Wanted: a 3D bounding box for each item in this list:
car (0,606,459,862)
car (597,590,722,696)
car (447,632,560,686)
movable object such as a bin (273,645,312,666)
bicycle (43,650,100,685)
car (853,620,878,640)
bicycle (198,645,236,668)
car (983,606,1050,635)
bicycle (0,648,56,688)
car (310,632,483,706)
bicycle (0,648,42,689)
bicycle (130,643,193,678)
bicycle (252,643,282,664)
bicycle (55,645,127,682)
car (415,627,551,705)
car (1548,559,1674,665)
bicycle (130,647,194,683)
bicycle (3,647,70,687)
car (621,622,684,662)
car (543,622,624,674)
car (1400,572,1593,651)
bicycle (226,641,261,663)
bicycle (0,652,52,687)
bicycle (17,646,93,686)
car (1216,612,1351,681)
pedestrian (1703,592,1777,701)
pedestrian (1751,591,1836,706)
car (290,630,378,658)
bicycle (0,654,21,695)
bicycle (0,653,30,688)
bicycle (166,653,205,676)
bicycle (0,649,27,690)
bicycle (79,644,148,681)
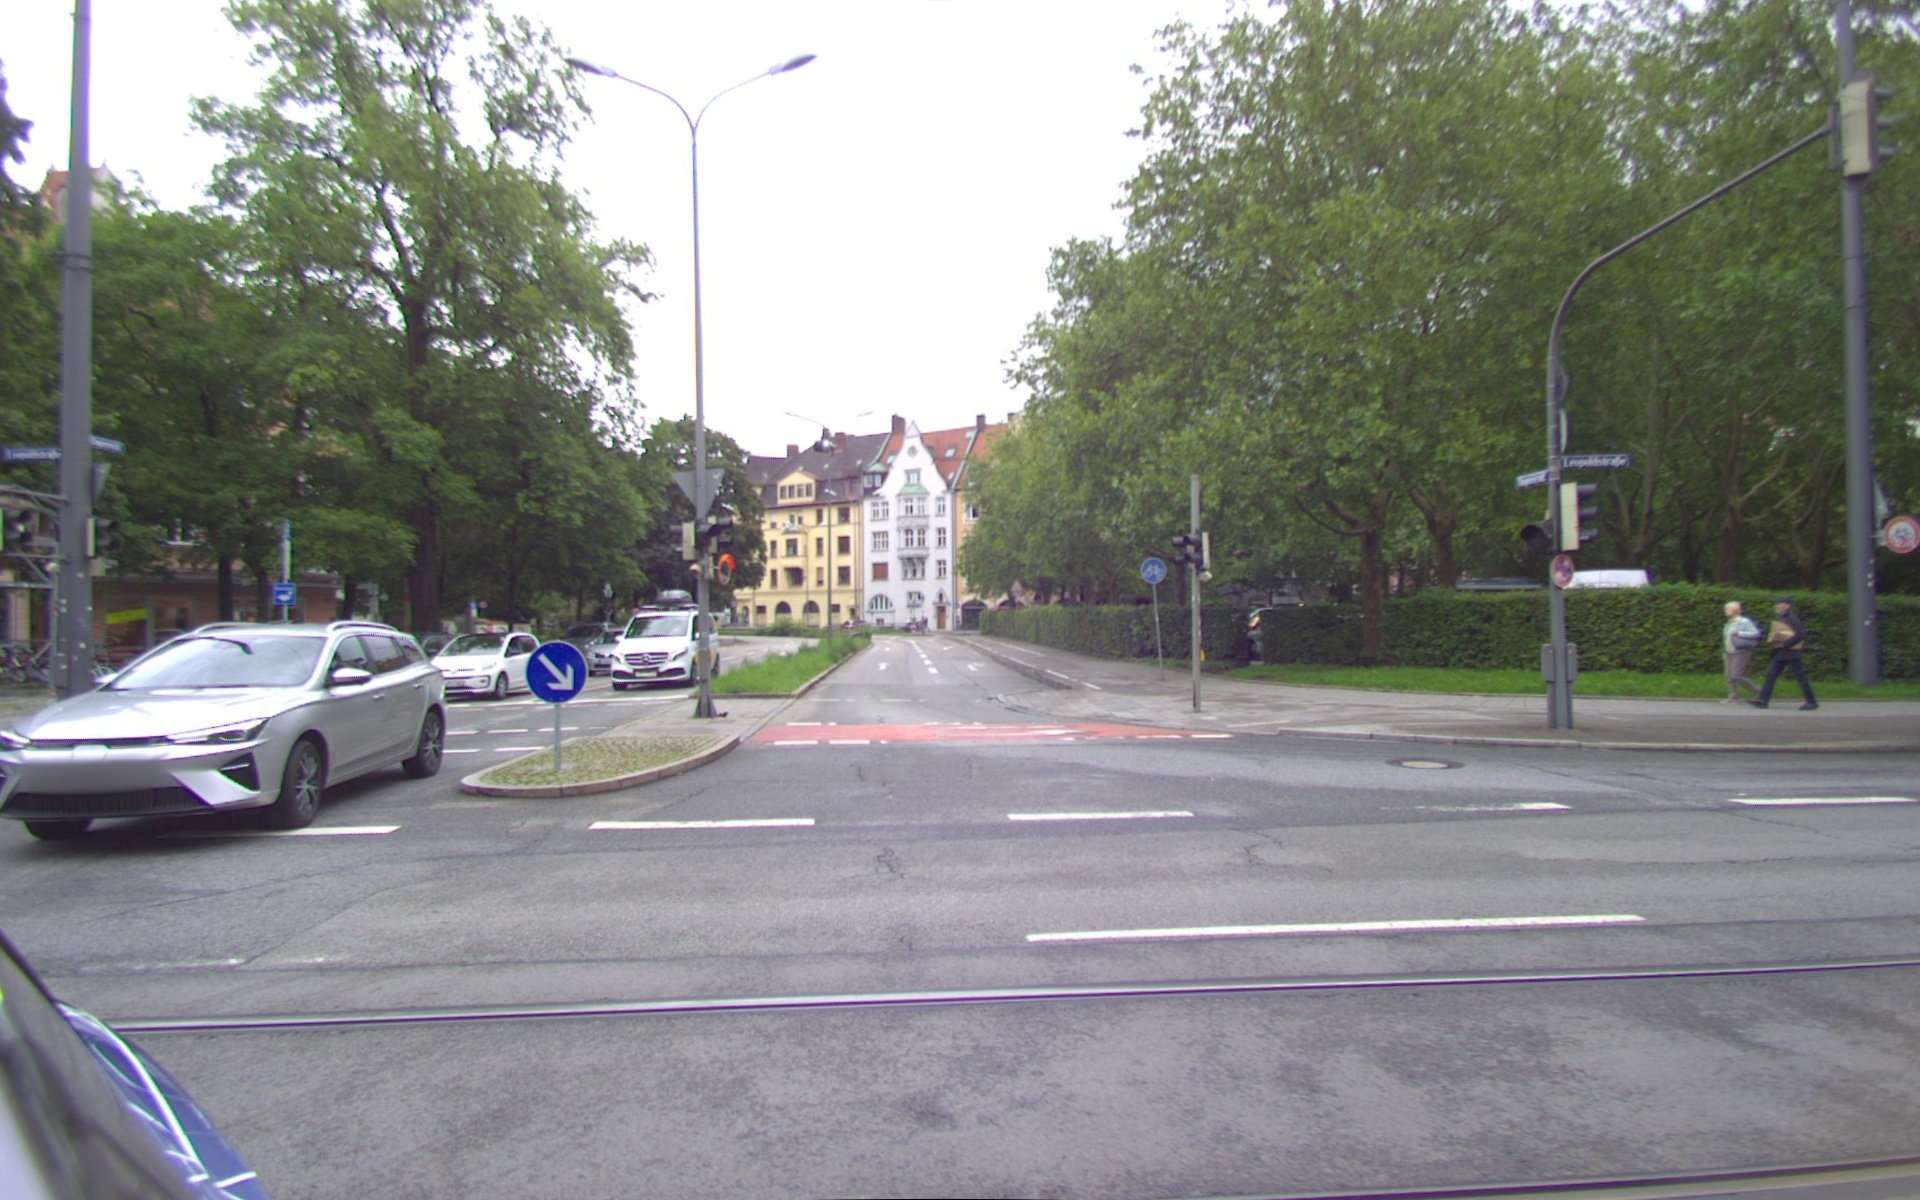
[{"bbox_3d":[-5.835,0.875,8.383,1.748,1.536,4.215,-2,-1,-8],"label":"car"},{"bbox_3d":[-7.402,1.028,25.405,1.886,2.369,4.948,-1,-1,-3],"label":"car"},{"bbox_3d":[-13.945,1.751,31.214,1.746,1.472,4.647,-1,-1,-5],"label":"car"},{"bbox_3d":[-28.186,2.347,42.743,1.166,0.879,0.772,-1,-1,5],"label":"movable object such as a bin"},{"bbox_3d":[-24.867,1.873,28.349,0.309,0.900,1.411,-2,-1,2],"label":"bicycle"},{"bbox_3d":[-8.319,2.680,89.647,2.078,1.650,4.943,0,-2,-4],"label":"car"},{"bbox_3d":[-26.124,1.988,35.574,1.164,0.729,0.318,-2,-1,6],"label":"bicycle"},{"bbox_3d":[5.265,1.897,93.886,5.975,2.609,2.117,1,-3,-28],"label":"car"},{"bbox_3d":[-22.239,1.614,23.988,1.394,0.900,0.313,-2,-1,4],"label":"bicycle"},{"bbox_3d":[-13.449,1.591,24.516,1.810,1.561,4.556,-1,-1,-2],"label":"car"},{"bbox_3d":[-22.225,1.610,23.612,1.394,0.900,0.313,-2,-1,4],"label":"bicycle"},{"bbox_3d":[-22.638,1.716,28.706,1.390,0.900,0.314,-2,-1,-40],"label":"bicycle"},{"bbox_3d":[-25.955,2.015,37.902,1.171,0.729,0.316,-3,-1,24],"label":"bicycle"},{"bbox_3d":[-22.423,1.639,26.132,1.388,0.900,0.314,0,-1,-29],"label":"bicycle"},{"bbox_3d":[-10.709,1.420,23.054,1.747,1.536,4.217,-2,-1,-10],"label":"car"},{"bbox_3d":[15.218,0.394,23.550,1.997,2.029,4.568,-3,-7,38],"label":"car"},{"bbox_3d":[-22.313,1.798,28.304,1.390,0.900,0.314,-2,-1,-40],"label":"bicycle"},{"bbox_3d":[-22.248,1.617,24.385,1.394,0.900,0.313,-2,-1,4],"label":"bicycle"},{"bbox_3d":[-15.025,2.013,49.749,1.822,1.870,5.027,-1,-1,-3],"label":"car"},{"bbox_3d":[-14.199,1.760,38.455,1.907,1.833,4.561,-1,-1,-7],"label":"car"},{"bbox_3d":[19.353,0.416,36.703,5.782,2.554,2.000,-2,-1,0],"label":"car"},{"bbox_3d":[-25.890,1.859,36.580,0.315,0.729,1.176,-2,-1,7],"label":"bicycle"},{"bbox_3d":[-26.397,1.939,28.513,0.309,0.900,1.411,-2,-1,2],"label":"bicycle"},{"bbox_3d":[-22.430,1.631,25.096,1.388,0.900,0.314,-2,-1,-17],"label":"bicycle"},{"bbox_3d":[9.550,1.336,29.885,3.462,1.776,1.783,-2,-1,-27],"label":"car"},{"bbox_3d":[12.285,0.720,15.954,0.545,1.676,0.688,0,-1,-16],"label":"pedestrian"},{"bbox_3d":[12.490,0.713,15.174,0.650,1.676,0.688,0,-1,-16],"label":"pedestrian"},{"bbox_3d":[-38.699,2.702,62.611,4.389,1.477,1.857,-2,-1,7],"label":"car"},{"bbox_3d":[-21.464,1.645,22.097,0.311,0.901,1.402,-3,-2,22],"label":"bicycle"},{"bbox_3d":[-25.525,1.892,27.243,1.407,0.900,0.310,-3,-1,31],"label":"bicycle"},{"bbox_3d":[-27.328,2.278,35.712,1.164,0.729,0.318,-2,-1,6],"label":"bicycle"},{"bbox_3d":[-22.265,1.609,23.267,1.394,0.900,0.313,-2,-1,4],"label":"bicycle"},{"bbox_3d":[-22.590,1.653,27.014,1.390,0.900,0.314,-2,-1,-40],"label":"bicycle"}]
